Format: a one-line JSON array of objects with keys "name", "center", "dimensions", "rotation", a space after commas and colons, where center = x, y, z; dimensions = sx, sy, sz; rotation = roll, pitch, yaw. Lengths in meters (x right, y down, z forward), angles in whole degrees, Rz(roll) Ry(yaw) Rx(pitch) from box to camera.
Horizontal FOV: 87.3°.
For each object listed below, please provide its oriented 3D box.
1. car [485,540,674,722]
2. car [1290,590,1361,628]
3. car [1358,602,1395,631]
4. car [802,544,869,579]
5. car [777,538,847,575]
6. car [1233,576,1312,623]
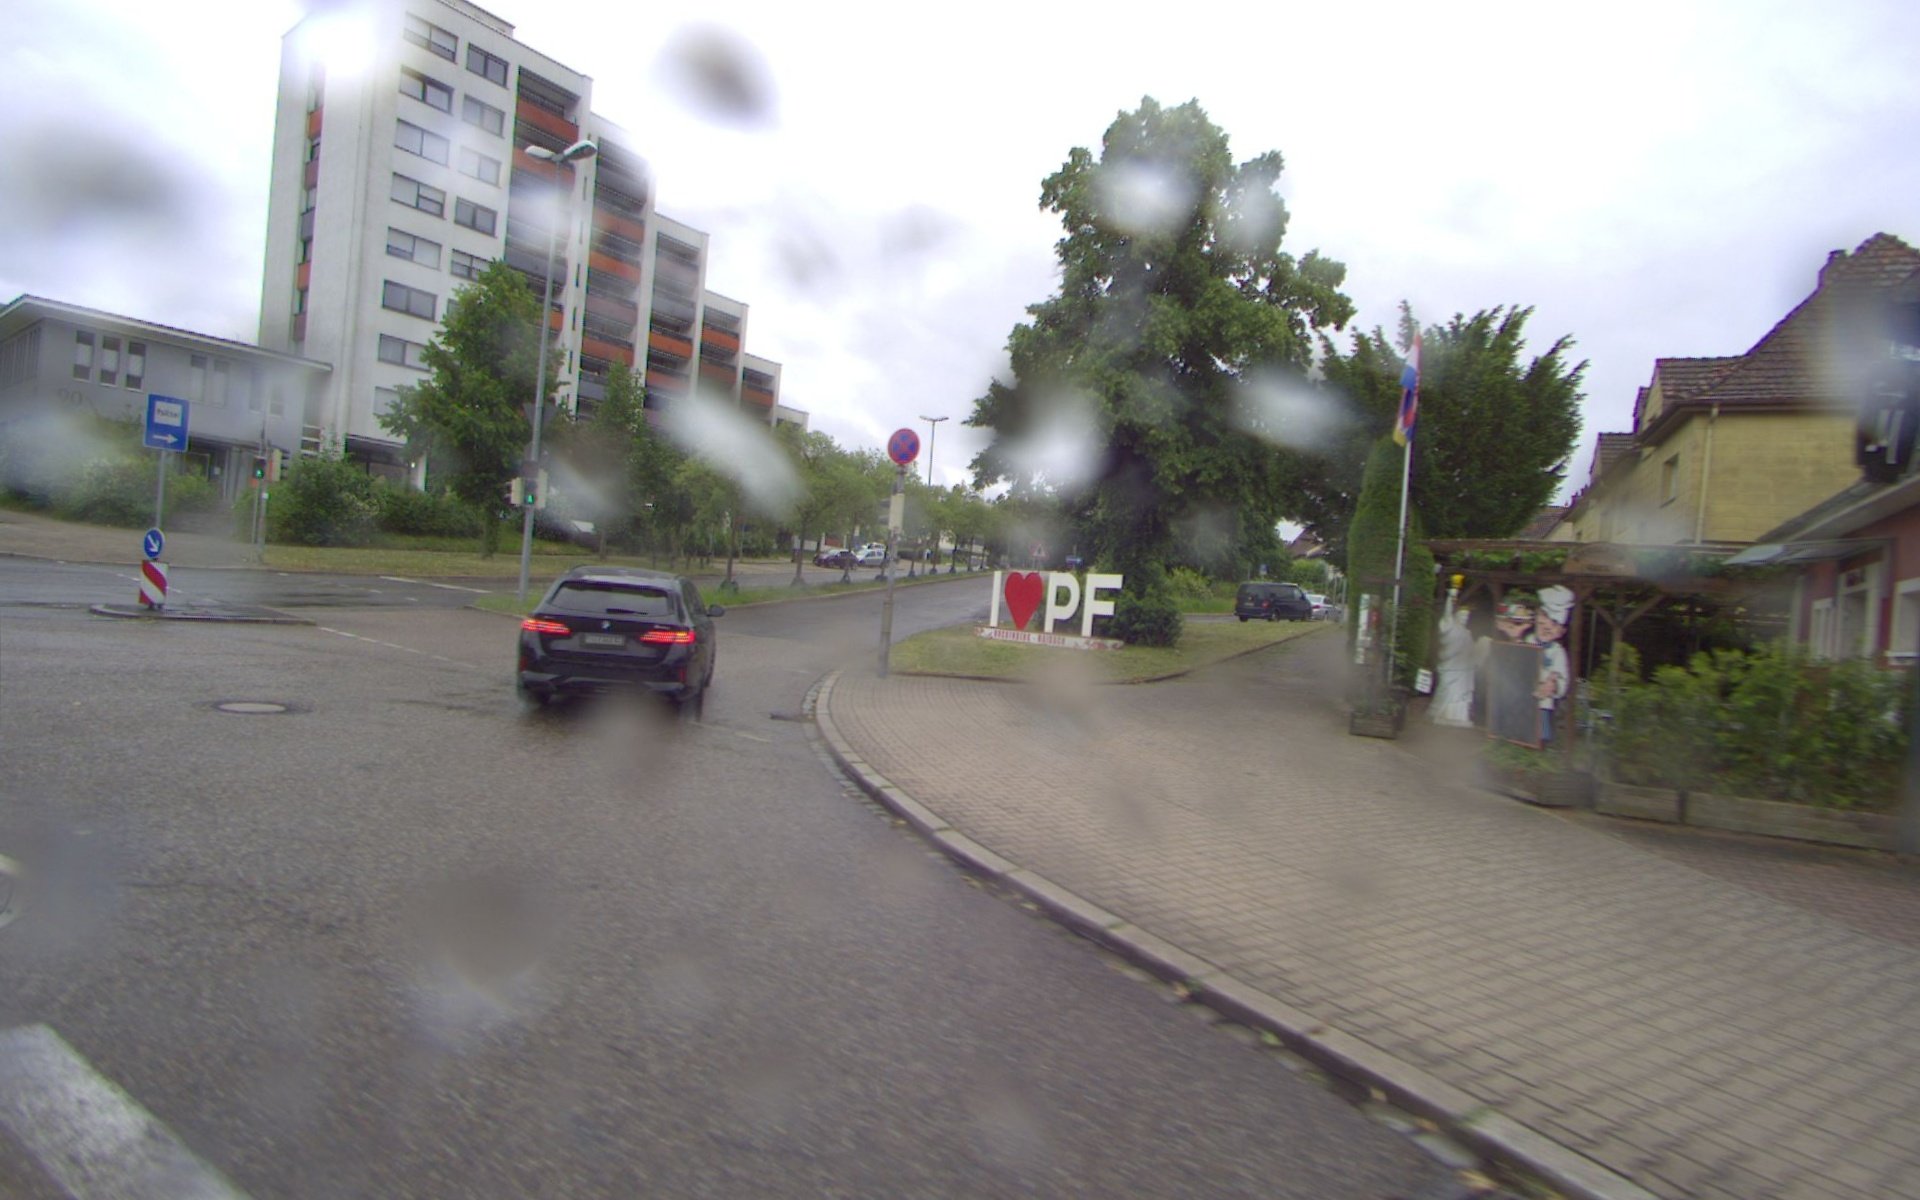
[{"name": "car", "center": [-4.128, 0.297, 11.145], "dimensions": [1.507, 1.552, 3.518], "rotation": [7, -2, -19]}, {"name": "car", "center": [19.427, 0.475, 53.441], "dimensions": [3.782, 1.620, 1.821], "rotation": [5, 2, -42]}, {"name": "car", "center": [27.729, 1.117, 66.880], "dimensions": [1.811, 1.619, 3.803], "rotation": [8, 2, 27]}, {"name": "car", "center": [-9.224, -2.849, 74.412], "dimensions": [4.283, 2.037, 2.002], "rotation": [6, -1, 17]}, {"name": "car", "center": [-10.532, -3.096, 71.766], "dimensions": [4.283, 2.037, 2.002], "rotation": [6, -1, 17]}, {"name": "car", "center": [15.298, -0.020, 49.175], "dimensions": [3.782, 1.866, 1.821], "rotation": [5, 3, -42]}]
